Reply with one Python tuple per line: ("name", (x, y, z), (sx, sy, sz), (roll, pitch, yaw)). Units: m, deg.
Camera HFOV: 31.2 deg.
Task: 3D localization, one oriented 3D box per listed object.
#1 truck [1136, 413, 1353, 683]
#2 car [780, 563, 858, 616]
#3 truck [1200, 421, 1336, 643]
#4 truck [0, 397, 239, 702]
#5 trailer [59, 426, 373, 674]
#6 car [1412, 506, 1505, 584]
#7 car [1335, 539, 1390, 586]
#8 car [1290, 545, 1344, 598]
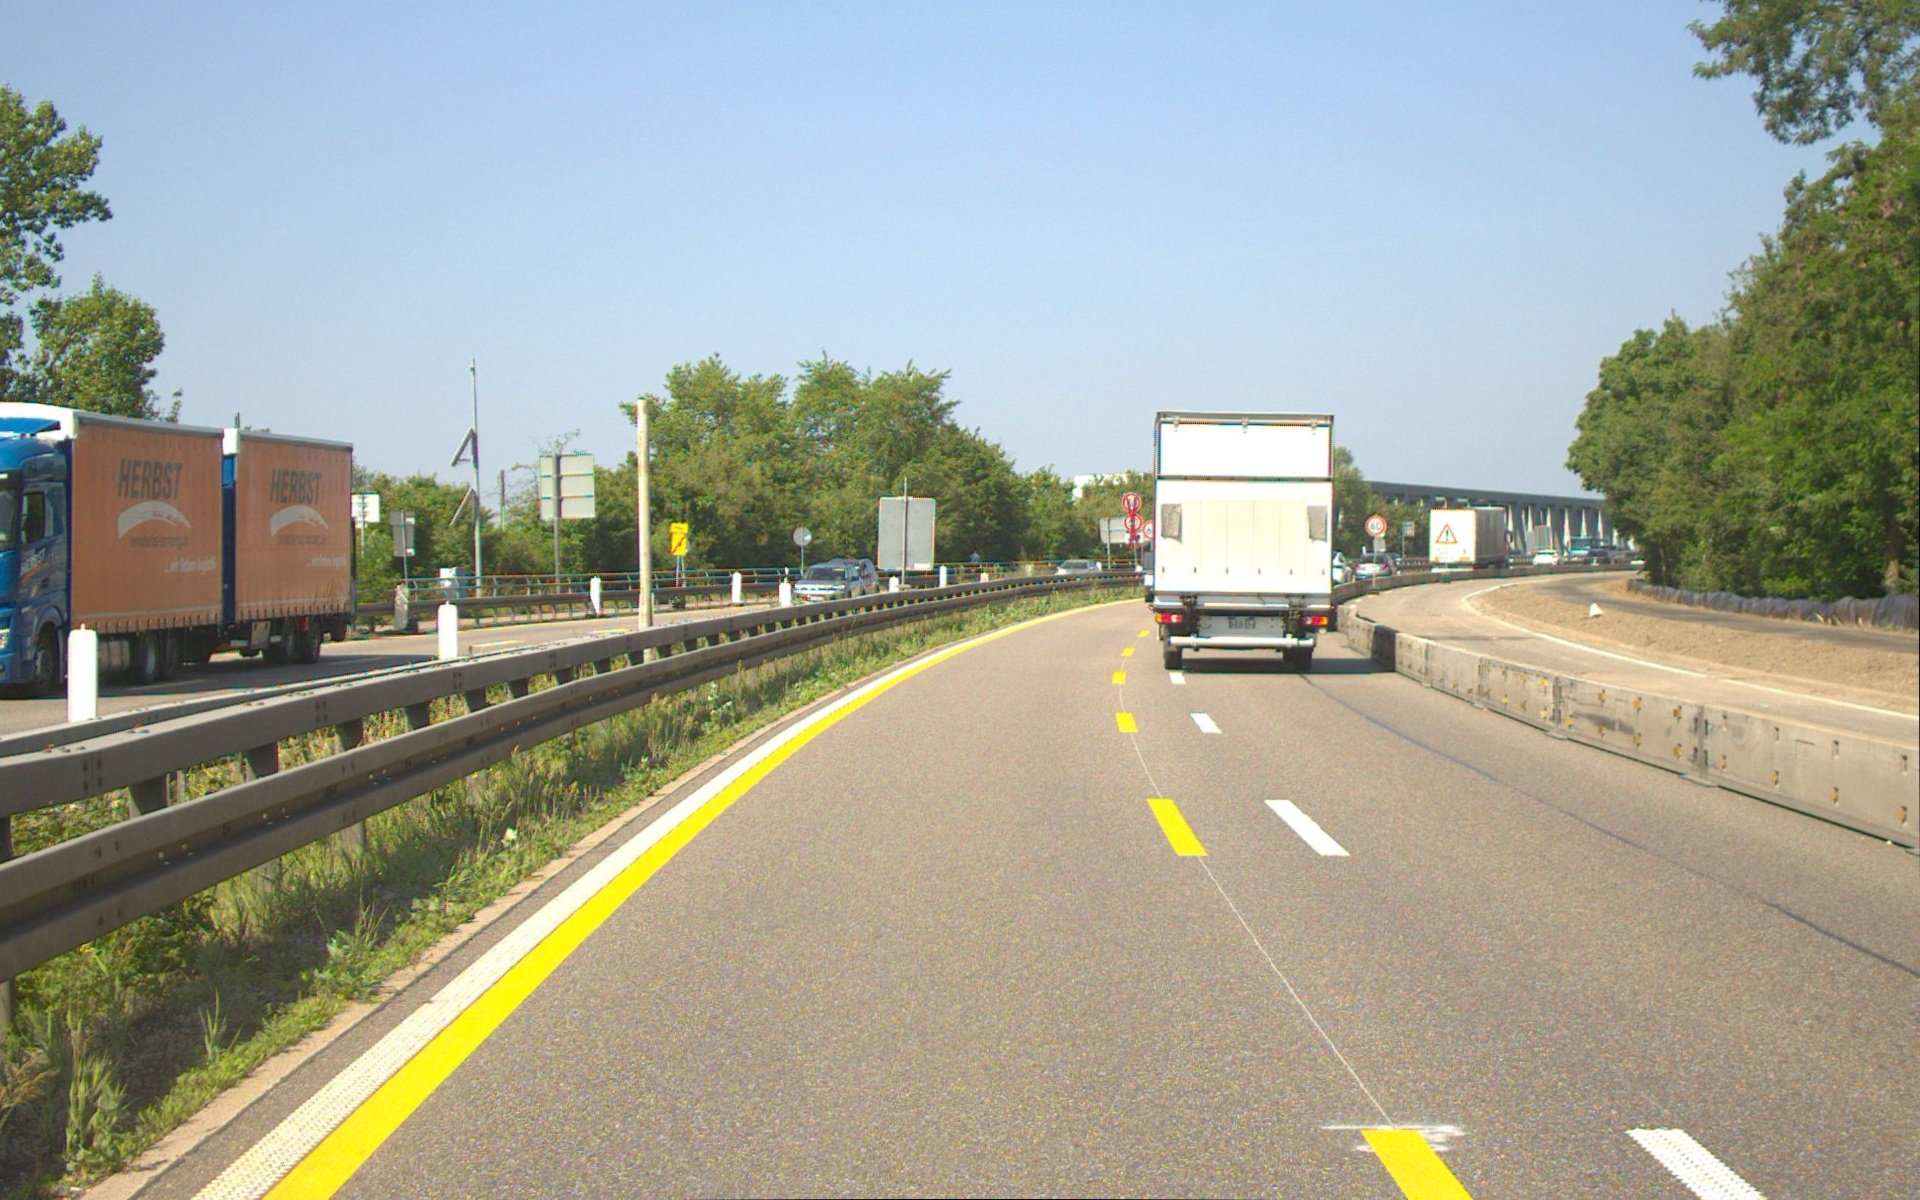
("truck", (3.823, -0.727, 47.566), (2.634, 3.416, 7.233), (1, 1, 2))
("car", (-4.632, -0.364, 113.470), (1.909, 1.645, 4.375), (-2, 1, 6))
("truck", (6.636, -1.442, 73.356), (2.635, 4.453, 7.231), (1, 1, 7))
("truck", (-13.672, -0.780, 51.420), (3.038, 4.077, 10.623), (0, 1, 3))
("trailer", (-13.119, -0.923, 61.622), (3.038, 4.077, 9.788), (0, 1, 3))
("car", (28.865, -3.228, 198.716), (4.210, 4.237, 10.655), (-2, 1, 14))
("car", (18.753, -1.759, 160.106), (1.995, 2.007, 3.998), (-2, 1, 14))
("car", (14.345, -1.172, 138.016), (1.994, 2.007, 3.999), (-2, 1, 7))
